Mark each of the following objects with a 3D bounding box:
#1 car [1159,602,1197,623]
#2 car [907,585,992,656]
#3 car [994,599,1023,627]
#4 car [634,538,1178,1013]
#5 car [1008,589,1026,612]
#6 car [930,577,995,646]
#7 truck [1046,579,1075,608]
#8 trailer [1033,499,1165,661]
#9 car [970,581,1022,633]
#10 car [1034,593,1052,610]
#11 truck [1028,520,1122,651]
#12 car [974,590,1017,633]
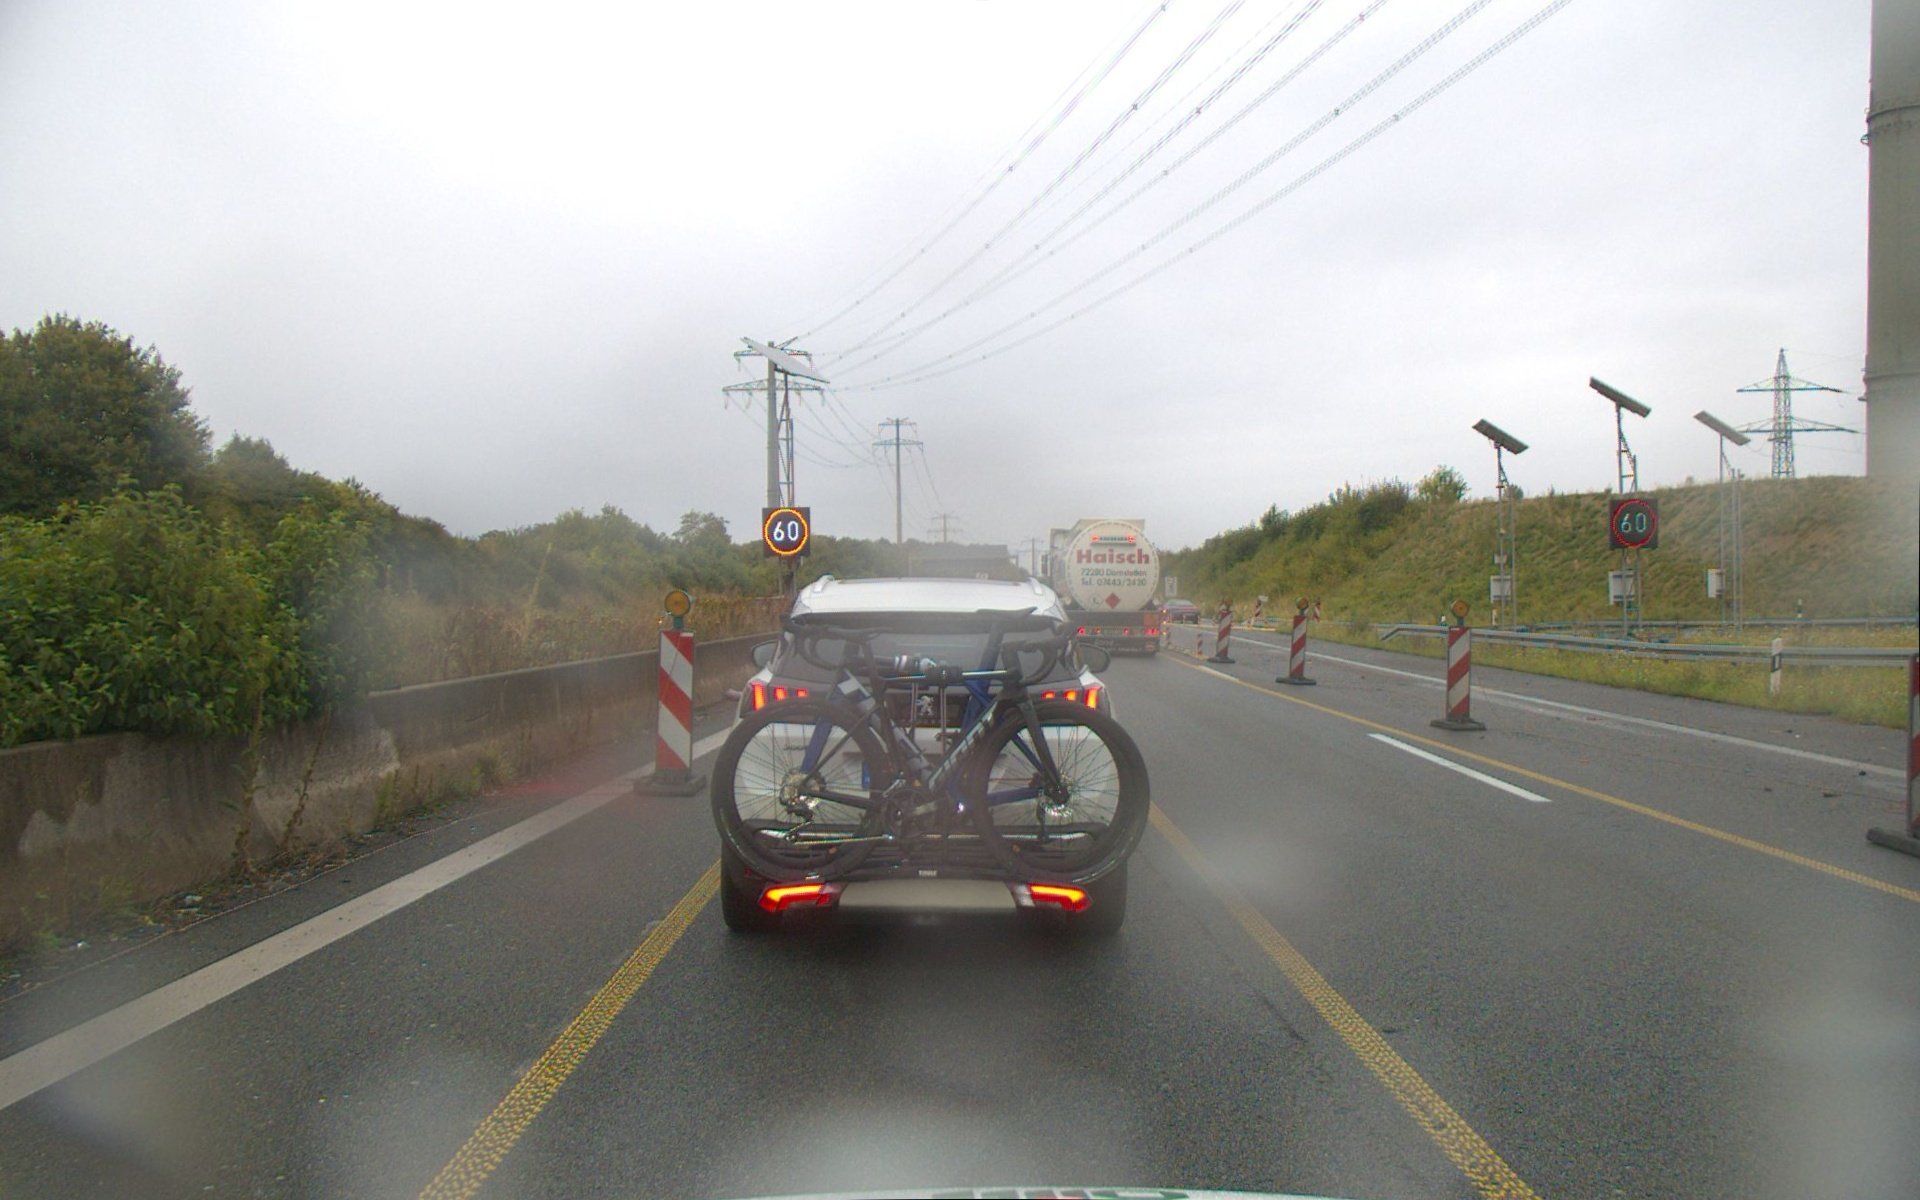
[{"bbox_3d":[12.464,0.712,94.672,1.453,1.181,3.904,-1,0,-3],"label":"car"},{"bbox_3d":[-0.279,0.461,40.050,1.953,1.611,3.999,0,0,-1],"label":"car"},{"bbox_3d":[3.582,0.984,123.580,1.953,2.049,3.999,1,-1,-1],"label":"car"},{"bbox_3d":[-0.130,0.603,8.074,1.888,1.639,4.596,0,0,1],"label":"car"},{"bbox_3d":[5.273,0.033,152.203,1.619,2.049,4.002,0,0,3],"label":"car"},{"bbox_3d":[0.054,0.332,52.567,1.953,2.049,3.999,-1,0,-1],"label":"car"},{"bbox_3d":[14.685,-0.935,241.913,3.654,3.890,11.868,1,-1,1],"label":"truck"},{"bbox_3d":[3.675,-0.446,46.077,2.584,3.961,10.541,1,0,-1],"label":"trailer"},{"bbox_3d":[1.447,0.267,68.411,1.953,2.049,3.999,-1,1,-1],"label":"car"},{"bbox_3d":[10.016,0.179,200.128,1.953,2.049,3.999,1,-1,-1],"label":"car"},{"bbox_3d":[3.598,-0.417,52.614,2.591,3.959,4.029,1,-1,-1],"label":"truck"},{"bbox_3d":[1.741,0.574,82.311,1.953,2.049,3.999,1,-1,-1],"label":"car"}]
